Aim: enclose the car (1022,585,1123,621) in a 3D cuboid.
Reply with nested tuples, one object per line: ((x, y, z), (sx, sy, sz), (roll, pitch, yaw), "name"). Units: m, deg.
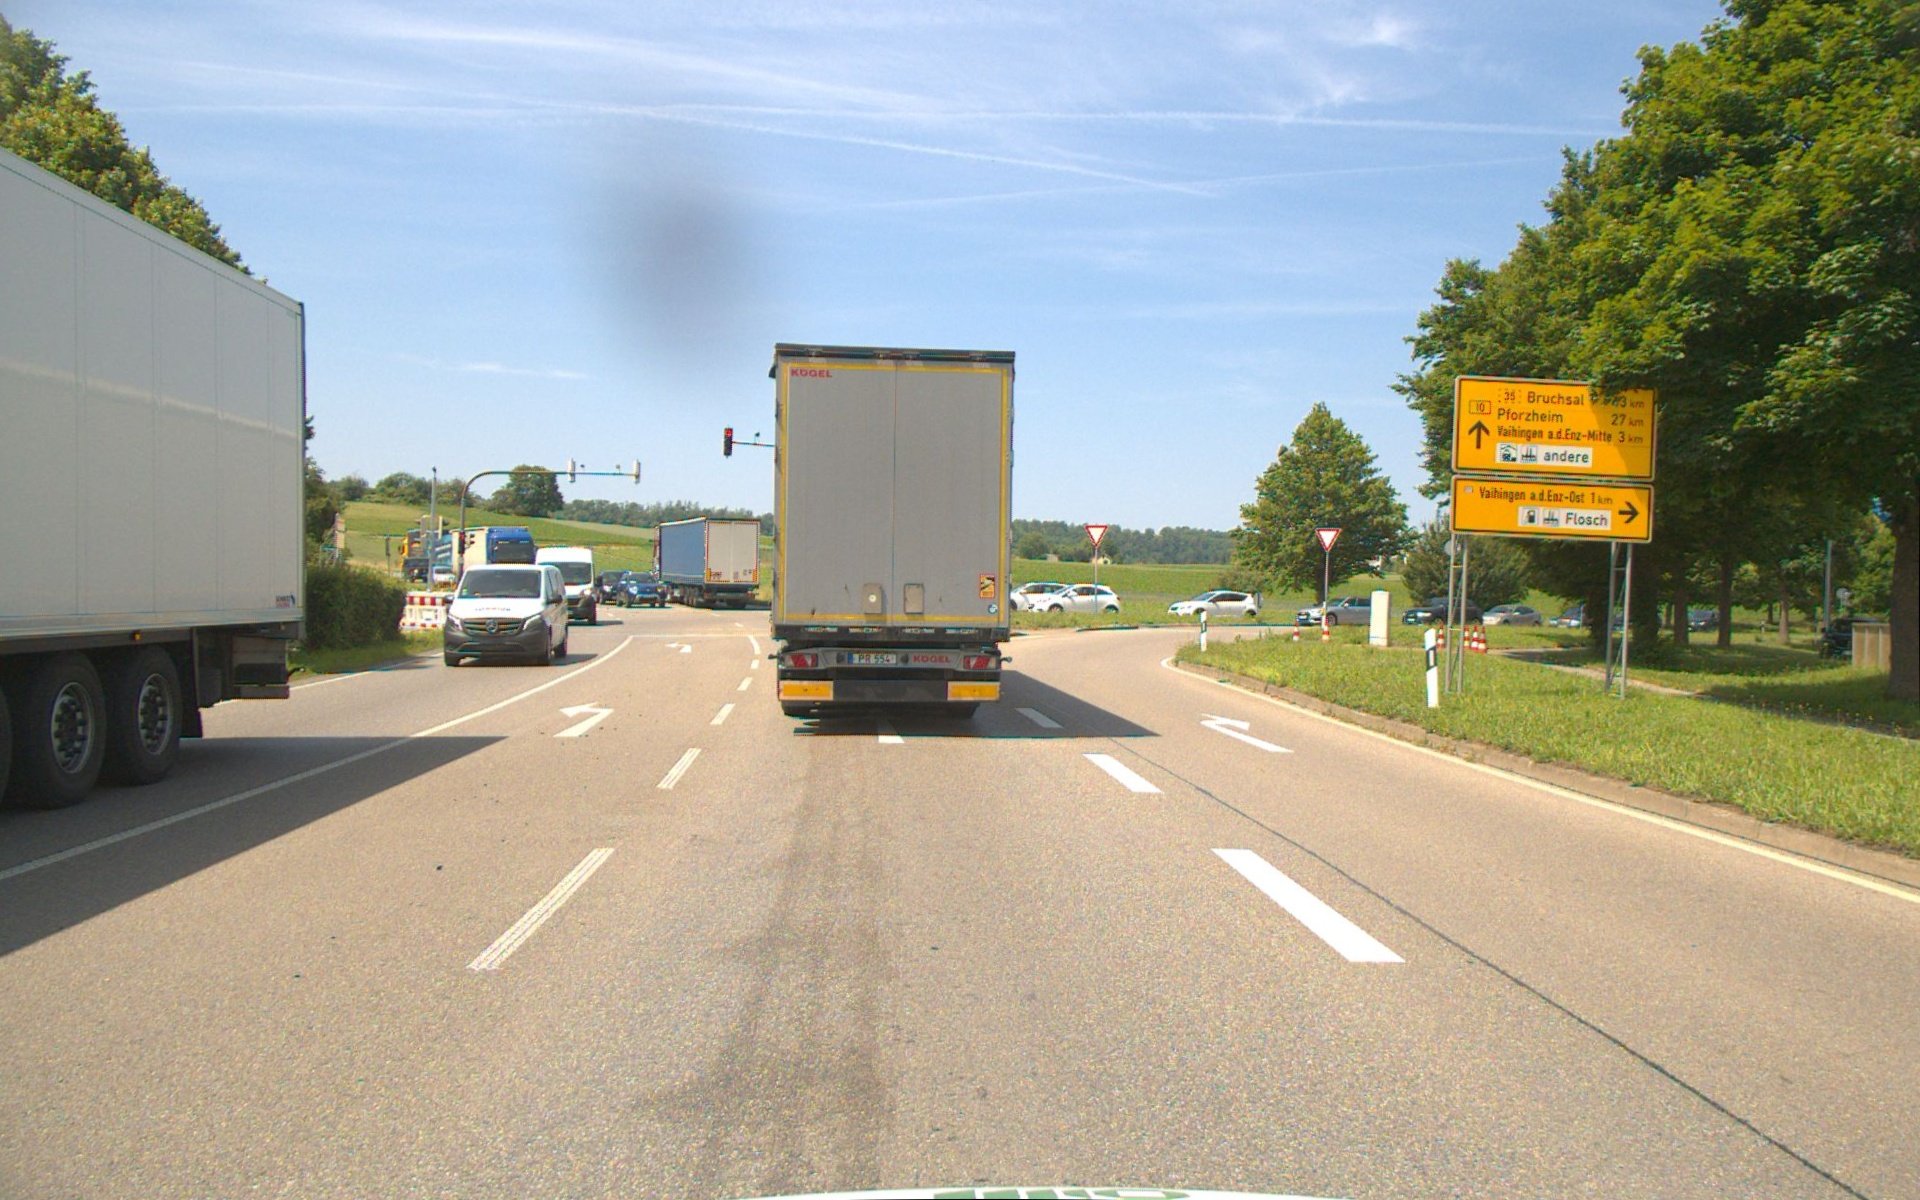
((4.716, 0.133, 69.582), (3.893, 1.444, 1.821), (1, -1, -15), "car")

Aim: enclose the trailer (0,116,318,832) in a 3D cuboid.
((-6.959, -0.740, 9.568), (2.723, 4.173, 11.650), (0, 0, -4), "trailer")

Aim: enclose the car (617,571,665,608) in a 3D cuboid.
((-14.883, -0.491, 77.084), (1.744, 1.687, 3.980), (0, 1, -18), "car")

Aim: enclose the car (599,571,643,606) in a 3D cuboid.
((-16.997, -0.575, 82.834), (1.743, 1.687, 3.981), (0, 1, -17), "car")

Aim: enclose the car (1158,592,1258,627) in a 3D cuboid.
((10.811, 0.419, 72.121), (4.036, 1.444, 1.788), (1, -1, -23), "car")

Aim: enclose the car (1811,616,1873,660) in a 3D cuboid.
((29.281, 1.259, 54.869), (1.721, 1.387, 4.313), (1, -1, 29), "car")

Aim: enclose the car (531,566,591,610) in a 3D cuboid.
((-17.970, -0.555, 74.290), (1.846, 1.919, 4.916), (0, 1, -23), "car")

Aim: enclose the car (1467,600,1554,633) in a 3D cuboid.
((27.205, 0.841, 81.664), (4.508, 1.536, 1.779), (2, -1, -35), "car")

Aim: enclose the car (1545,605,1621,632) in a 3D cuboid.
((32.340, 0.969, 85.804), (4.520, 1.295, 1.774), (2, -1, -41), "car")

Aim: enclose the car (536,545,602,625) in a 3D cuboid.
((-12.969, -0.509, 54.799), (2.016, 2.495, 5.250), (1, 1, -14), "car")

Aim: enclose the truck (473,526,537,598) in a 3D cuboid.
((-27.037, -2.267, 98.039), (2.535, 4.100, 6.506), (0, 1, -26), "truck")

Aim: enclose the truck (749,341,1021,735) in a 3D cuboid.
((-1.154, -0.647, 21.869), (2.753, 4.015, 9.581), (1, 0, -5), "truck")

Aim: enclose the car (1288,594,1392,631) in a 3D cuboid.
((17.151, 0.573, 74.583), (4.491, 1.536, 1.786), (2, -1, -26), "car")

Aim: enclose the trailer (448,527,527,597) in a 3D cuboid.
((-29.754, -2.387, 103.670), (2.535, 4.100, 13.482), (0, 1, -26), "trailer")

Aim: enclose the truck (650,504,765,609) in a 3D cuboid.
((-12.740, -2.077, 81.777), (2.916, 4.664, 16.230), (0, 1, -18), "truck")

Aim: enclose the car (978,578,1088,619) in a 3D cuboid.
((3.241, -0.052, 73.503), (4.543, 1.635, 1.993), (2, -2, -11), "car")

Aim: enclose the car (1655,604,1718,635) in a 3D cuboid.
((42.069, 1.152, 95.737), (1.966, 1.727, 4.261), (0, -1, 44), "car")

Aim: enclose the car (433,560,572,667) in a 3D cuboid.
((-8.769, 0.212, 32.102), (1.837, 1.897, 5.133), (0, 1, -7), "car")

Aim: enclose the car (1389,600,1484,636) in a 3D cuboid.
((22.415, 0.851, 77.690), (4.505, 1.536, 1.780), (3, -2, -33), "car")
